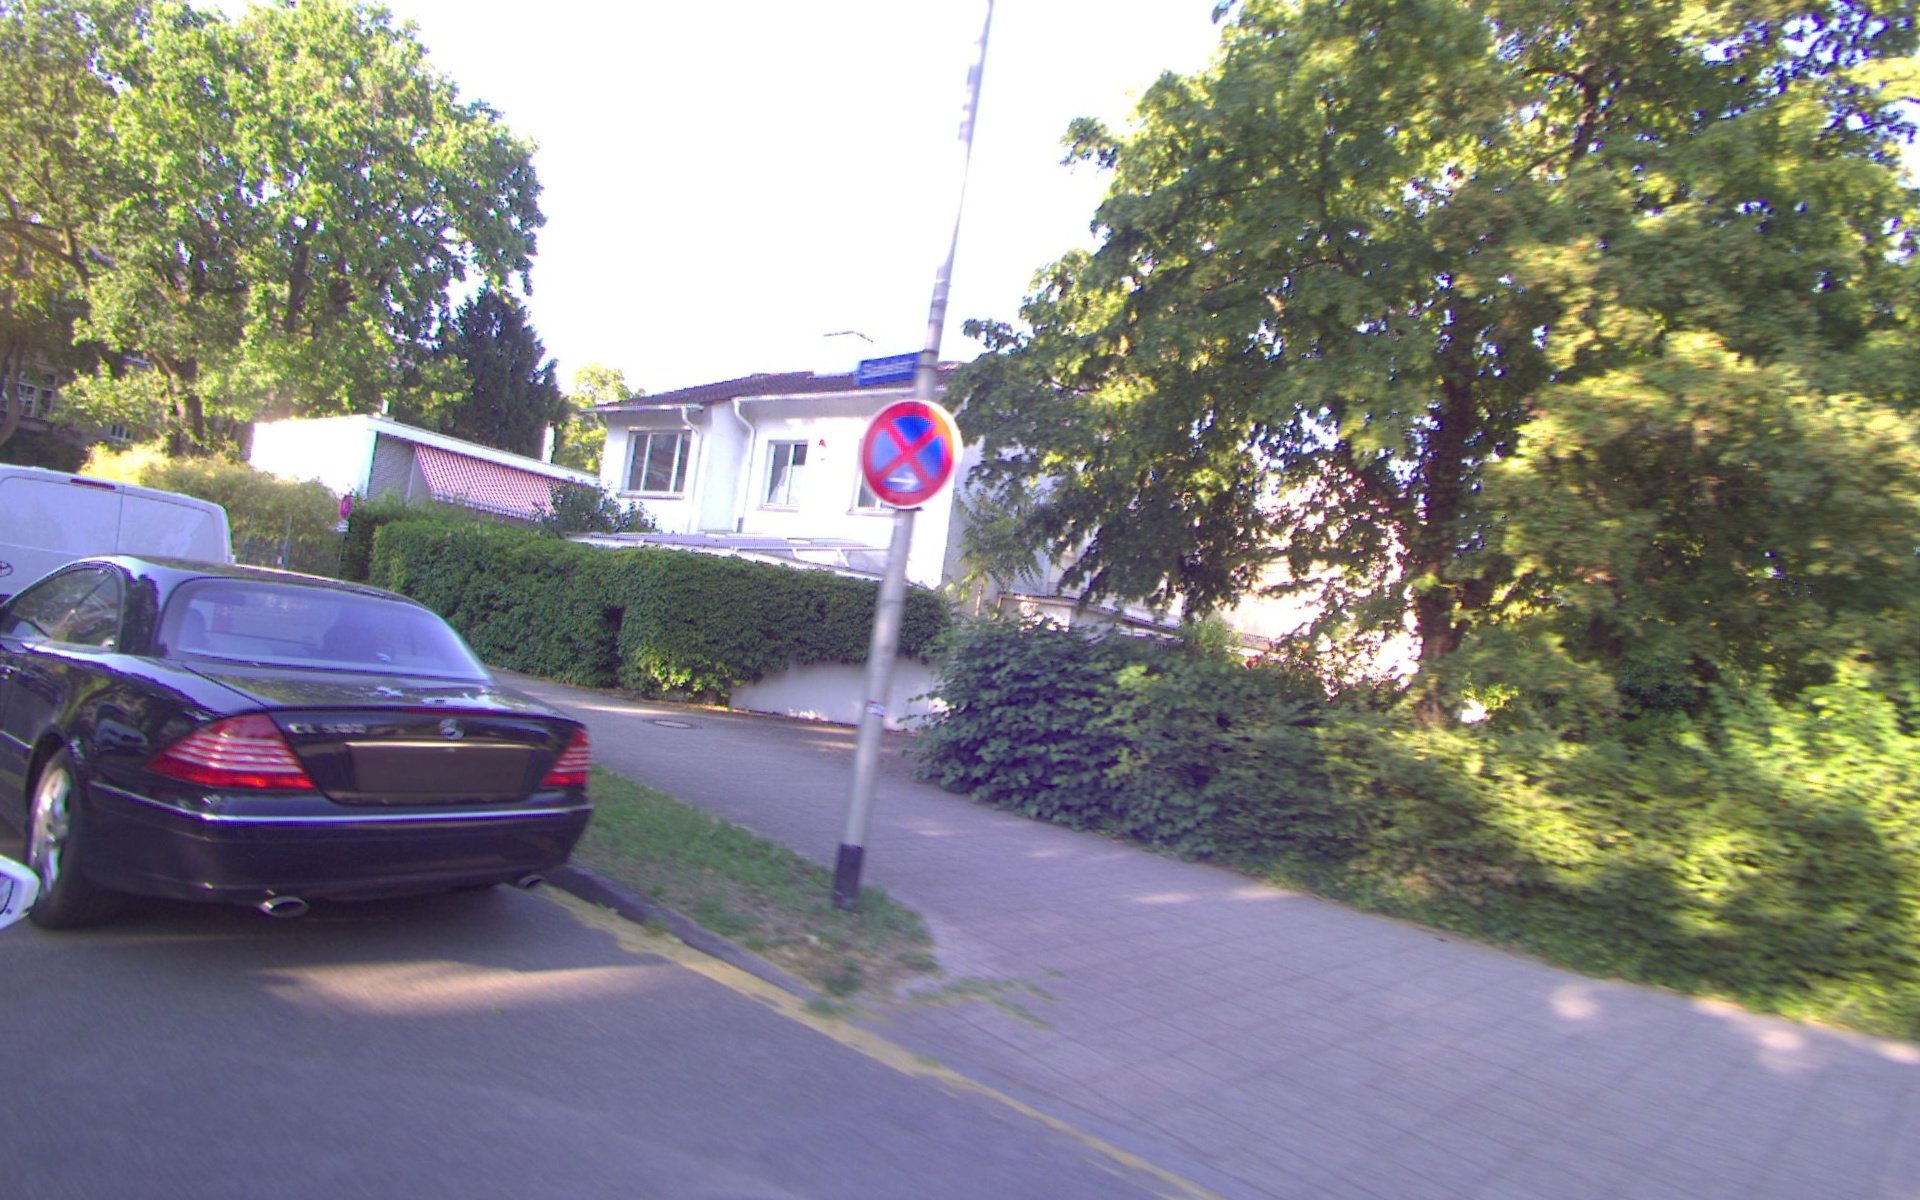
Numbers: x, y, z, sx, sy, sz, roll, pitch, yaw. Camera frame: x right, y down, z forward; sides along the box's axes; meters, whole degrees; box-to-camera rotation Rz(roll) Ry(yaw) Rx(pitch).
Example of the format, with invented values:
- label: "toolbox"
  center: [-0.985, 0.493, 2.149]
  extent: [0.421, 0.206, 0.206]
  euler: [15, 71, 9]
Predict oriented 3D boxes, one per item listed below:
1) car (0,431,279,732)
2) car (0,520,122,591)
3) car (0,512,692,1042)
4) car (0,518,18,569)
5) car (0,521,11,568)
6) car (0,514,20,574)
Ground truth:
- label: "car"
  center: [-8.364, -0.273, 8.961]
  extent: [5.073, 2.035, 1.956]
  euler: [6, -3, 36]
- label: "car"
  center: [-23.336, -1.217, 24.130]
  extent: [1.894, 1.431, 4.589]
  euler: [5, -3, 38]
- label: "car"
  center: [-3.719, 0.483, 5.114]
  extent: [4.789, 1.484, 1.768]
  euler: [6, -4, 36]
- label: "car"
  center: [-31.980, -2.133, 30.540]
  extent: [1.861, 1.566, 4.501]
  euler: [6, -4, 34]
- label: "car"
  center: [-33.620, -2.147, 32.519]
  extent: [1.649, 1.533, 3.959]
  euler: [6, -4, 37]
- label: "car"
  center: [-27.587, -1.805, 26.567]
  extent: [1.731, 1.601, 3.506]
  euler: [7, -4, 27]
